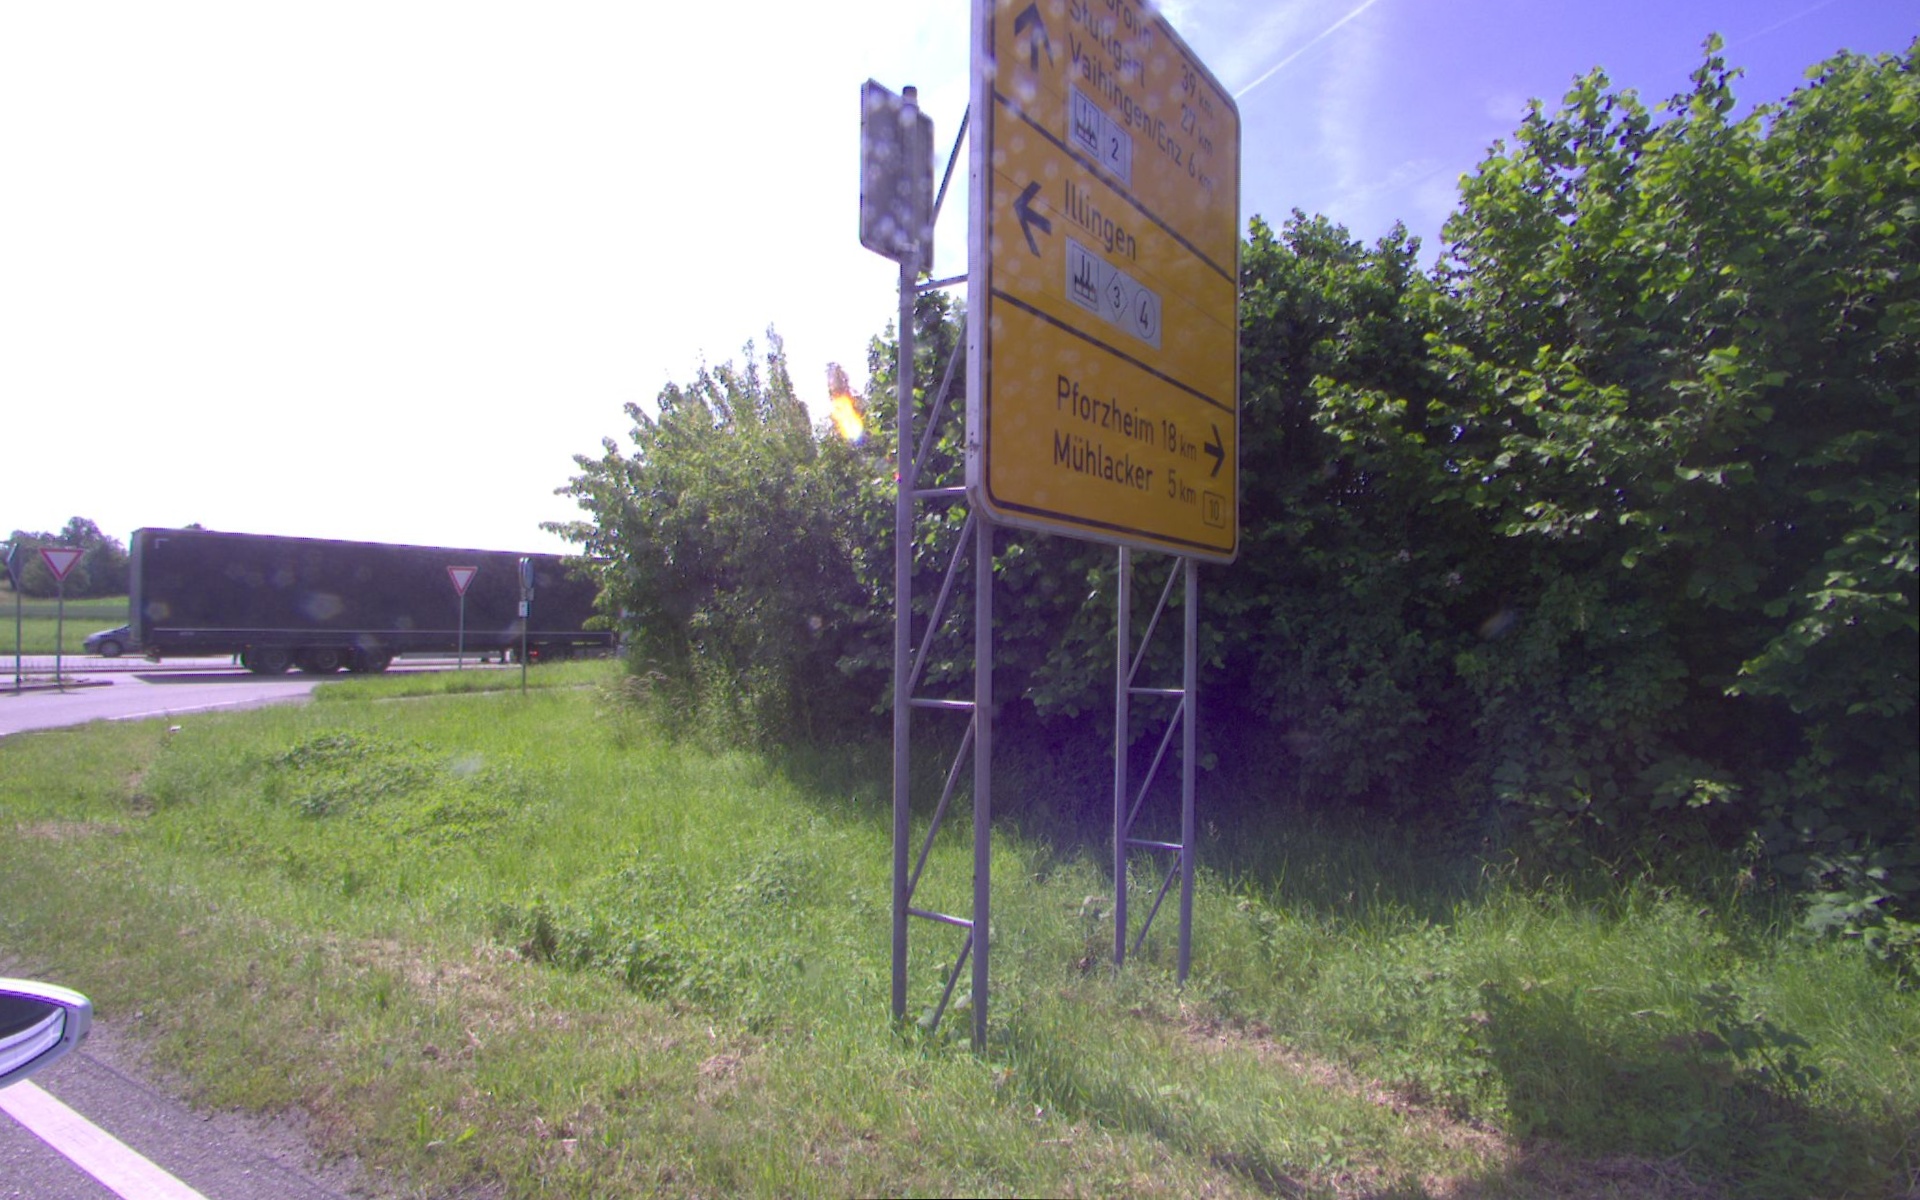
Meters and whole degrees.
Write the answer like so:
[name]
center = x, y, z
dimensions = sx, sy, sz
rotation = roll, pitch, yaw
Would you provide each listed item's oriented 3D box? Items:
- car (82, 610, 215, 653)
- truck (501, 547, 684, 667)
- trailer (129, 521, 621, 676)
[car]
center = -31.828, 1.279, 39.423
dimensions = 3.954, 1.616, 1.652
rotation = 2, -2, -38
[truck]
center = -13.607, 0.311, 37.401
dimensions = 2.766, 4.114, 5.799
rotation = 1, -1, 41
[trailer]
center = -18.031, 0.154, 32.596
dimensions = 2.767, 4.114, 13.615
rotation = 1, -1, 42
